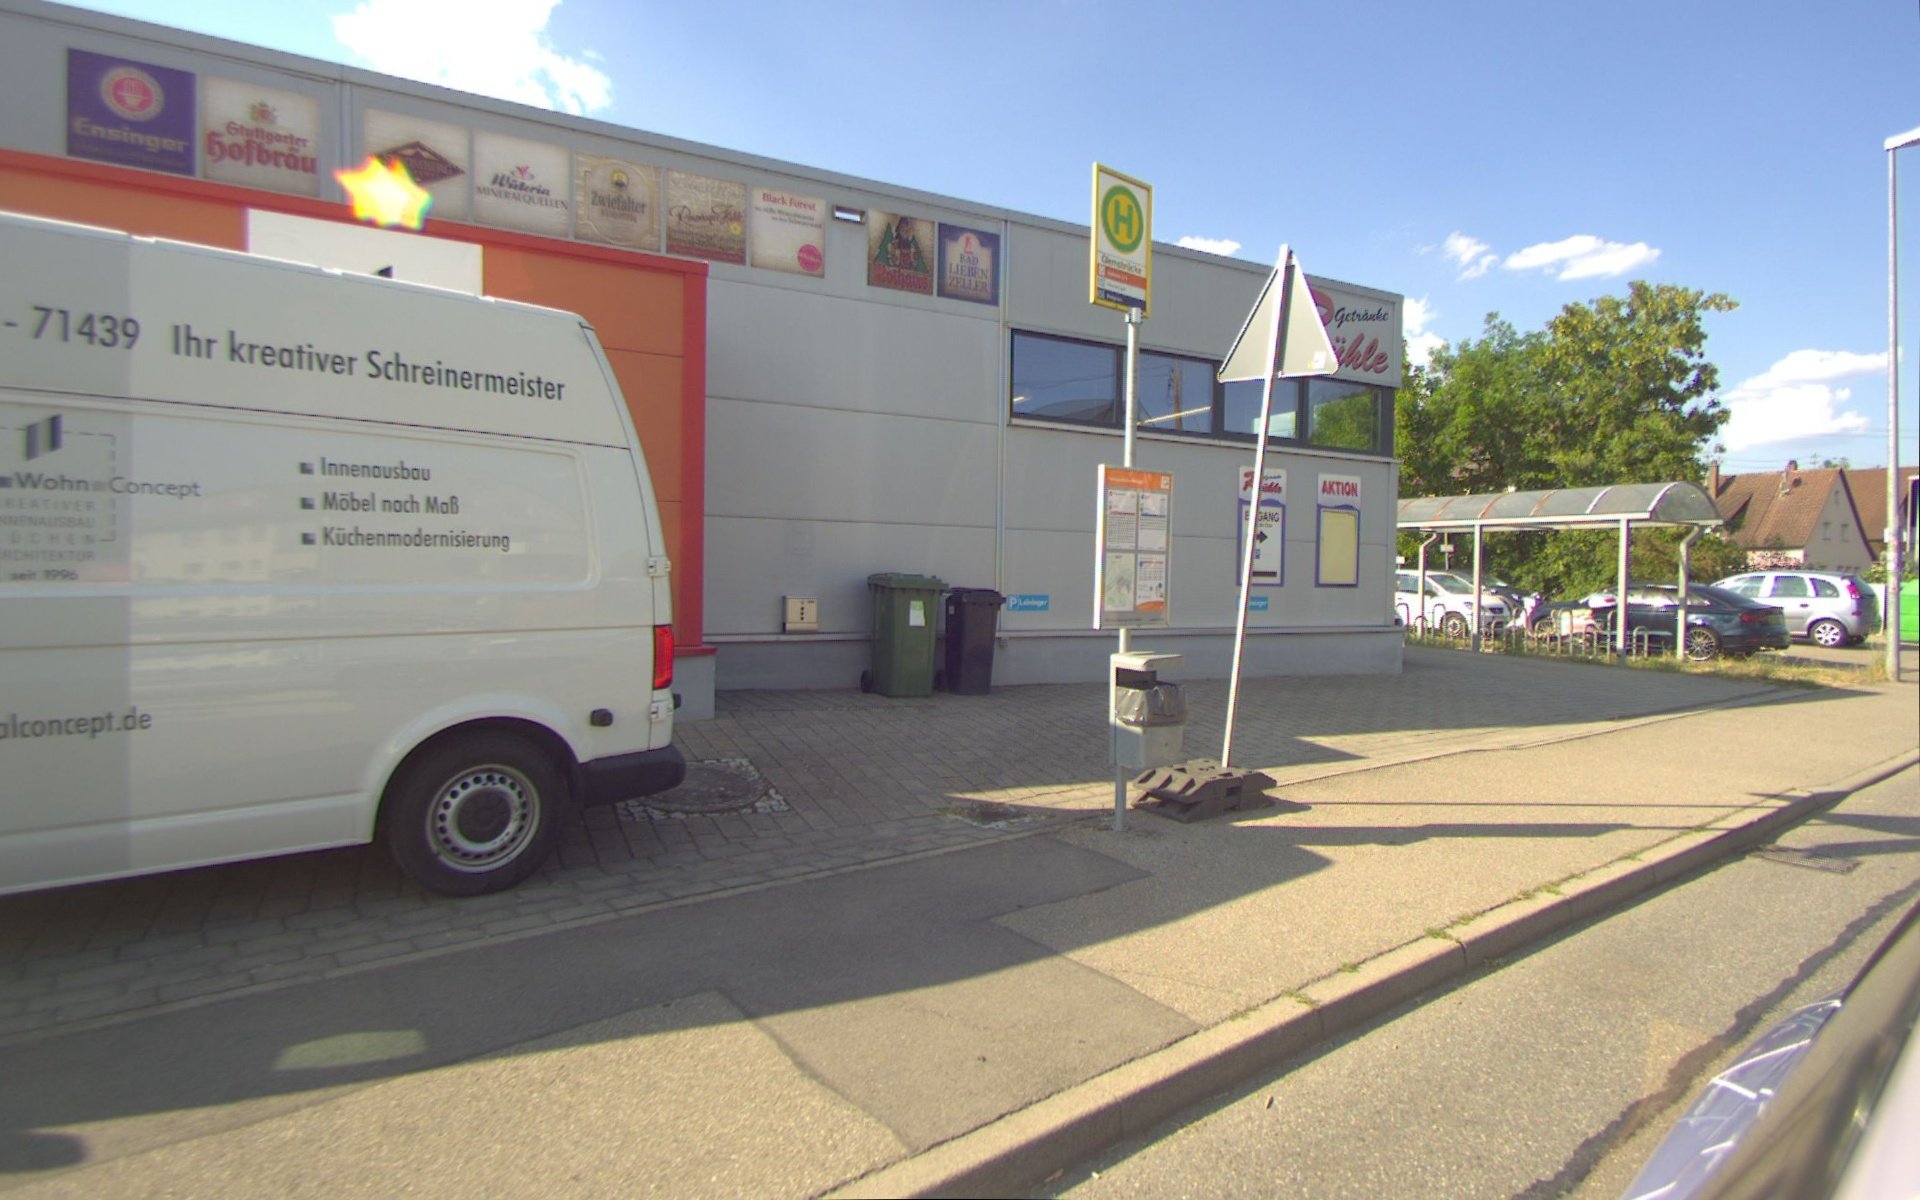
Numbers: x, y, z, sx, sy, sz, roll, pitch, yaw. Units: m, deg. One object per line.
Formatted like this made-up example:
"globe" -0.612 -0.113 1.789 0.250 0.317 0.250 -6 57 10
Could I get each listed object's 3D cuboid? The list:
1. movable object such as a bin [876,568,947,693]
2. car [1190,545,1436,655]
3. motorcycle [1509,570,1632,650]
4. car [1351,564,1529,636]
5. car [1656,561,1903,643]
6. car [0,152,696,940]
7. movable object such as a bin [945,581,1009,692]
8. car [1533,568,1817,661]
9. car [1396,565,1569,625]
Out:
"movable object such as a bin" -0.430 0.253 8.902 0.480 1.055 0.431 0 1 -28
"car" 5.353 -0.079 15.802 1.467 1.475 3.575 1 3 -26
"motorcycle" 11.192 0.153 18.589 1.822 1.340 0.632 4 3 38
"car" 10.992 -0.068 23.396 1.468 1.433 3.454 -1 4 -30
"car" 18.104 -0.044 22.529 1.651 1.622 3.954 -2 3 -34
"car" -3.727 -0.189 3.622 5.086 2.404 1.841 -1 2 -39
"movable object such as a bin" 0.152 0.319 9.280 0.421 0.978 0.431 0 1 -28
"car" 13.398 0.182 19.232 1.594 1.433 4.082 -1 4 -32
"car" 14.424 -0.201 28.145 1.651 1.466 3.954 -2 3 -34
